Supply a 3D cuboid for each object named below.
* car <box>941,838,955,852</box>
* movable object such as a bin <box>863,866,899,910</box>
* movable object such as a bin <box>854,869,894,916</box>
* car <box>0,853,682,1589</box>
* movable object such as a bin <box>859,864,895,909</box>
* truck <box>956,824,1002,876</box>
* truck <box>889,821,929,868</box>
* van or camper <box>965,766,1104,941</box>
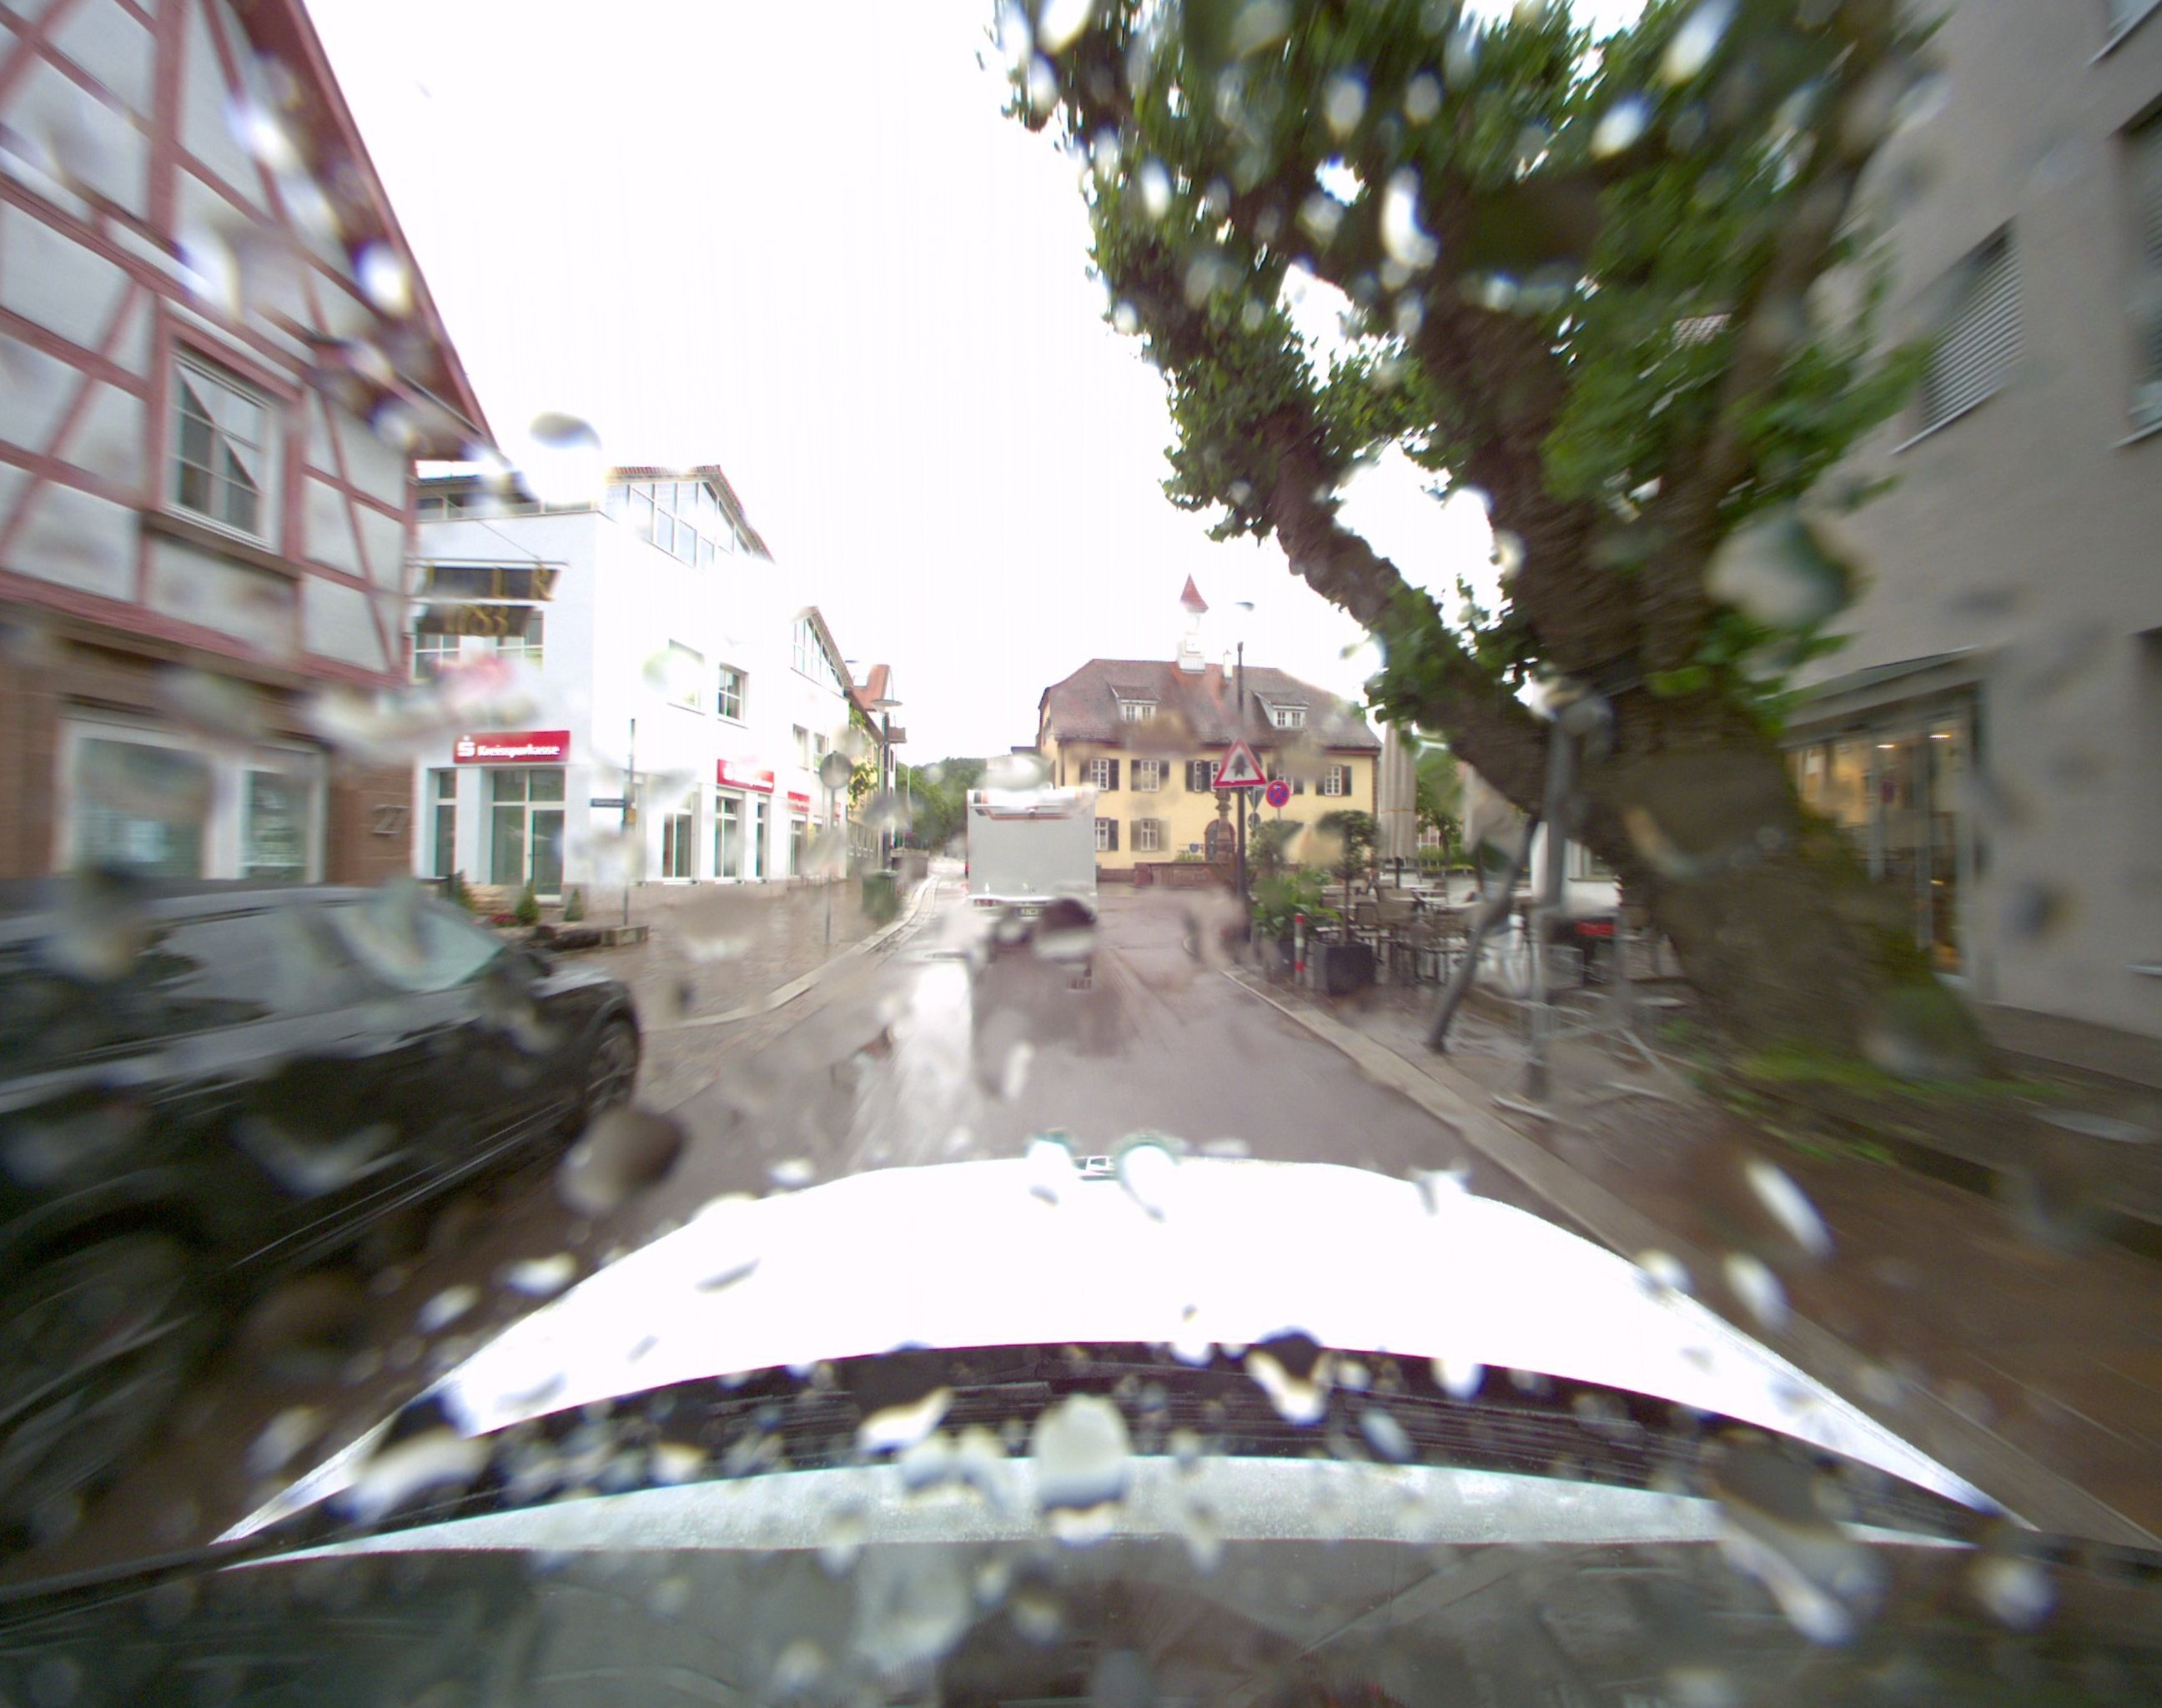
[{"bbox_3d":[-19.619,-1.296,119.810,1.994,2.014,3.986,0,-1,-10],"label":"car"},{"bbox_3d":[-4.940,0.836,20.160,0.765,1.051,0.522,2,-2,-8],"label":"movable object such as a bin"},{"bbox_3d":[-4.745,0.873,18.718,0.818,1.051,0.698,0,-1,-8],"label":"movable object such as a bin"},{"bbox_3d":[-3.405,0.776,3.174,1.991,1.494,3.992,1,0,-6],"label":"car"},{"bbox_3d":[-4.840,0.775,19.368,0.765,1.051,0.522,0,-1,-8],"label":"movable object such as a bin"},{"bbox_3d":[-6.327,-0.171,49.868,2.462,2.939,6.174,0,-1,-11],"label":"truck"},{"bbox_3d":[-10.679,-0.496,50.892,2.281,2.758,5.548,0,-1,-11],"label":"truck"},{"bbox_3d":[-1.038,0.053,16.908,2.322,2.919,6.381,0,-1,-5],"label":"van or camper"}]
